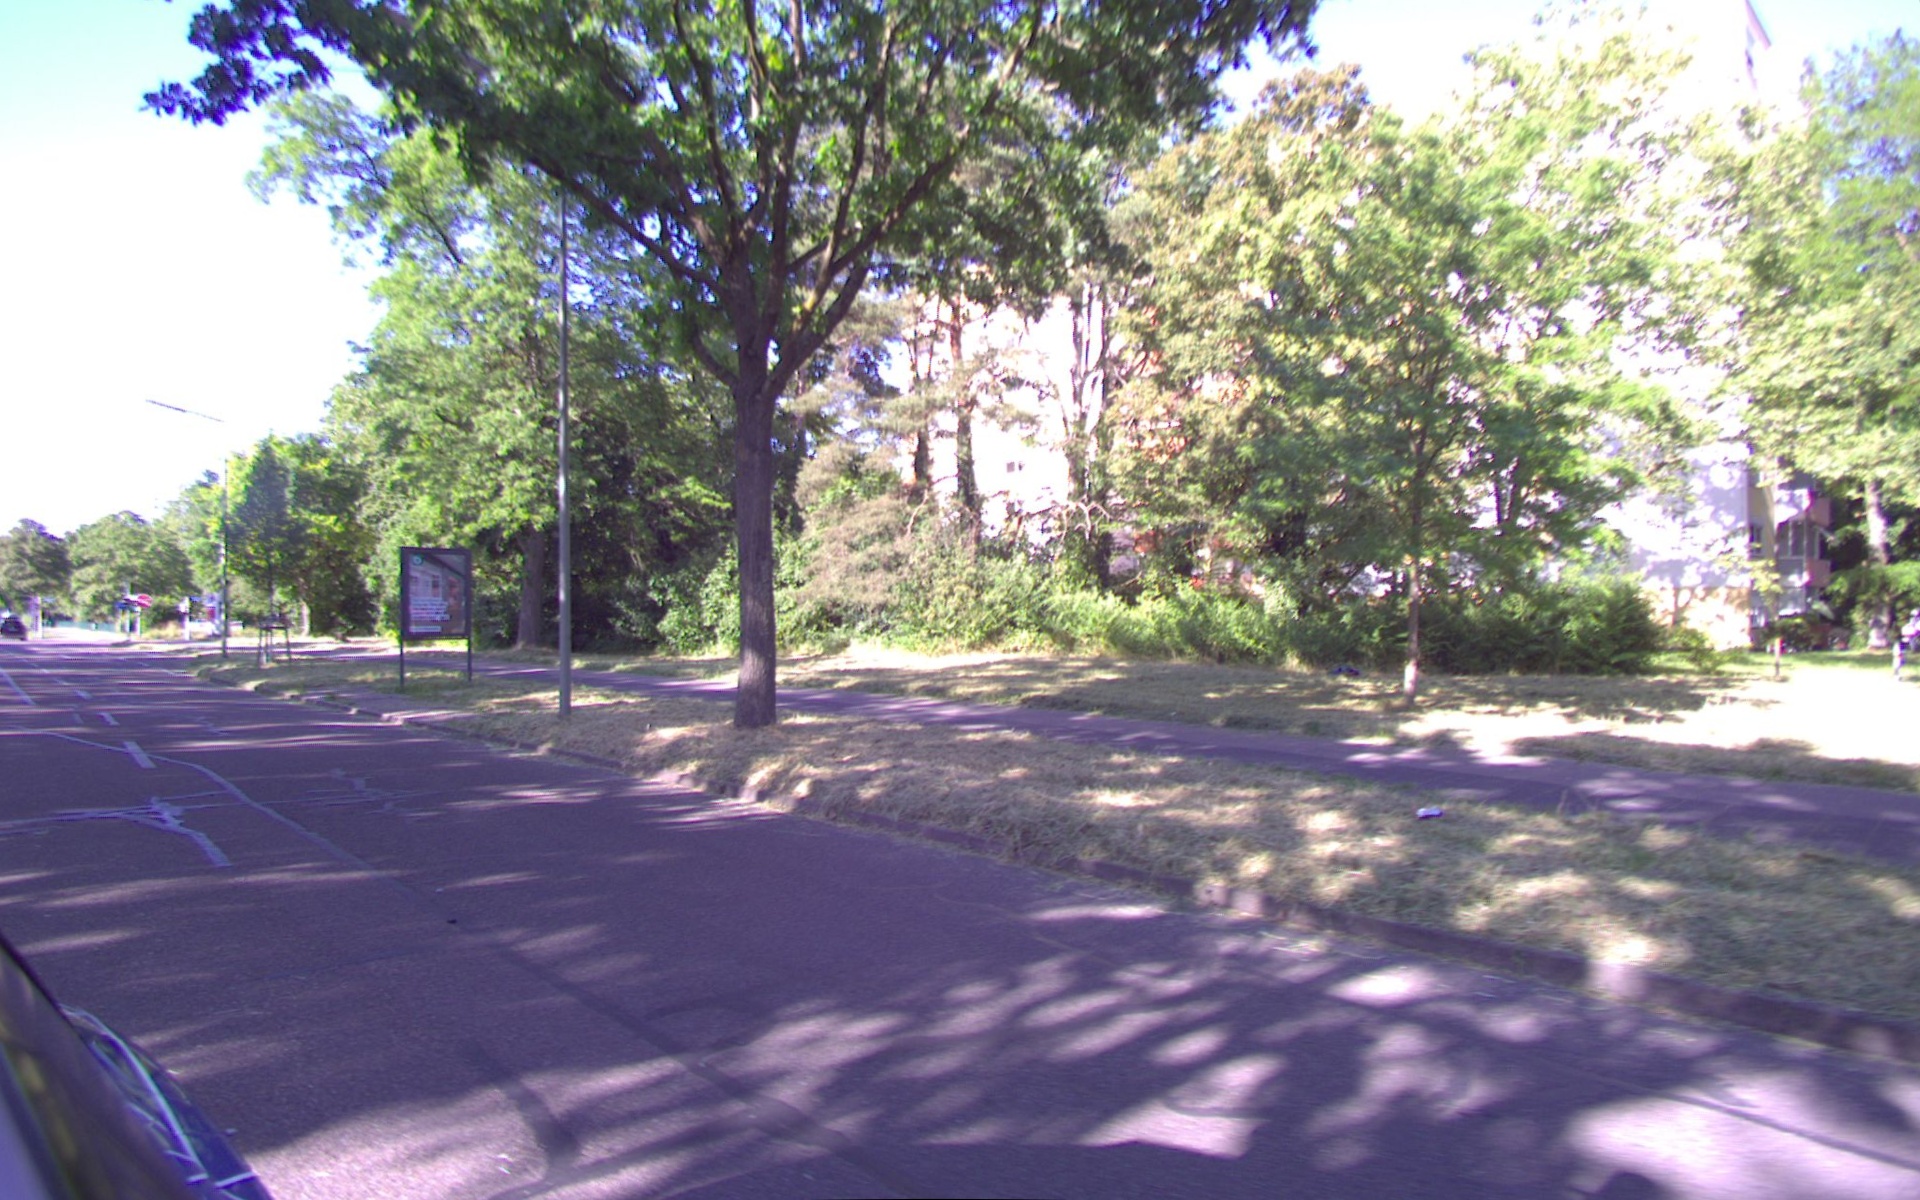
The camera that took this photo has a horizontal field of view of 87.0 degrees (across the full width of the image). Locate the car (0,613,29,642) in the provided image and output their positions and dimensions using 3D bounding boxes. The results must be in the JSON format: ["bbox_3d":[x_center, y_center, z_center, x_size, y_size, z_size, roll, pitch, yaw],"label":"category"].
[{"bbox_3d":[-71.295,2.063,75.903,3.641,2.111,1.878,-1,-3,43],"label":"car"}]
